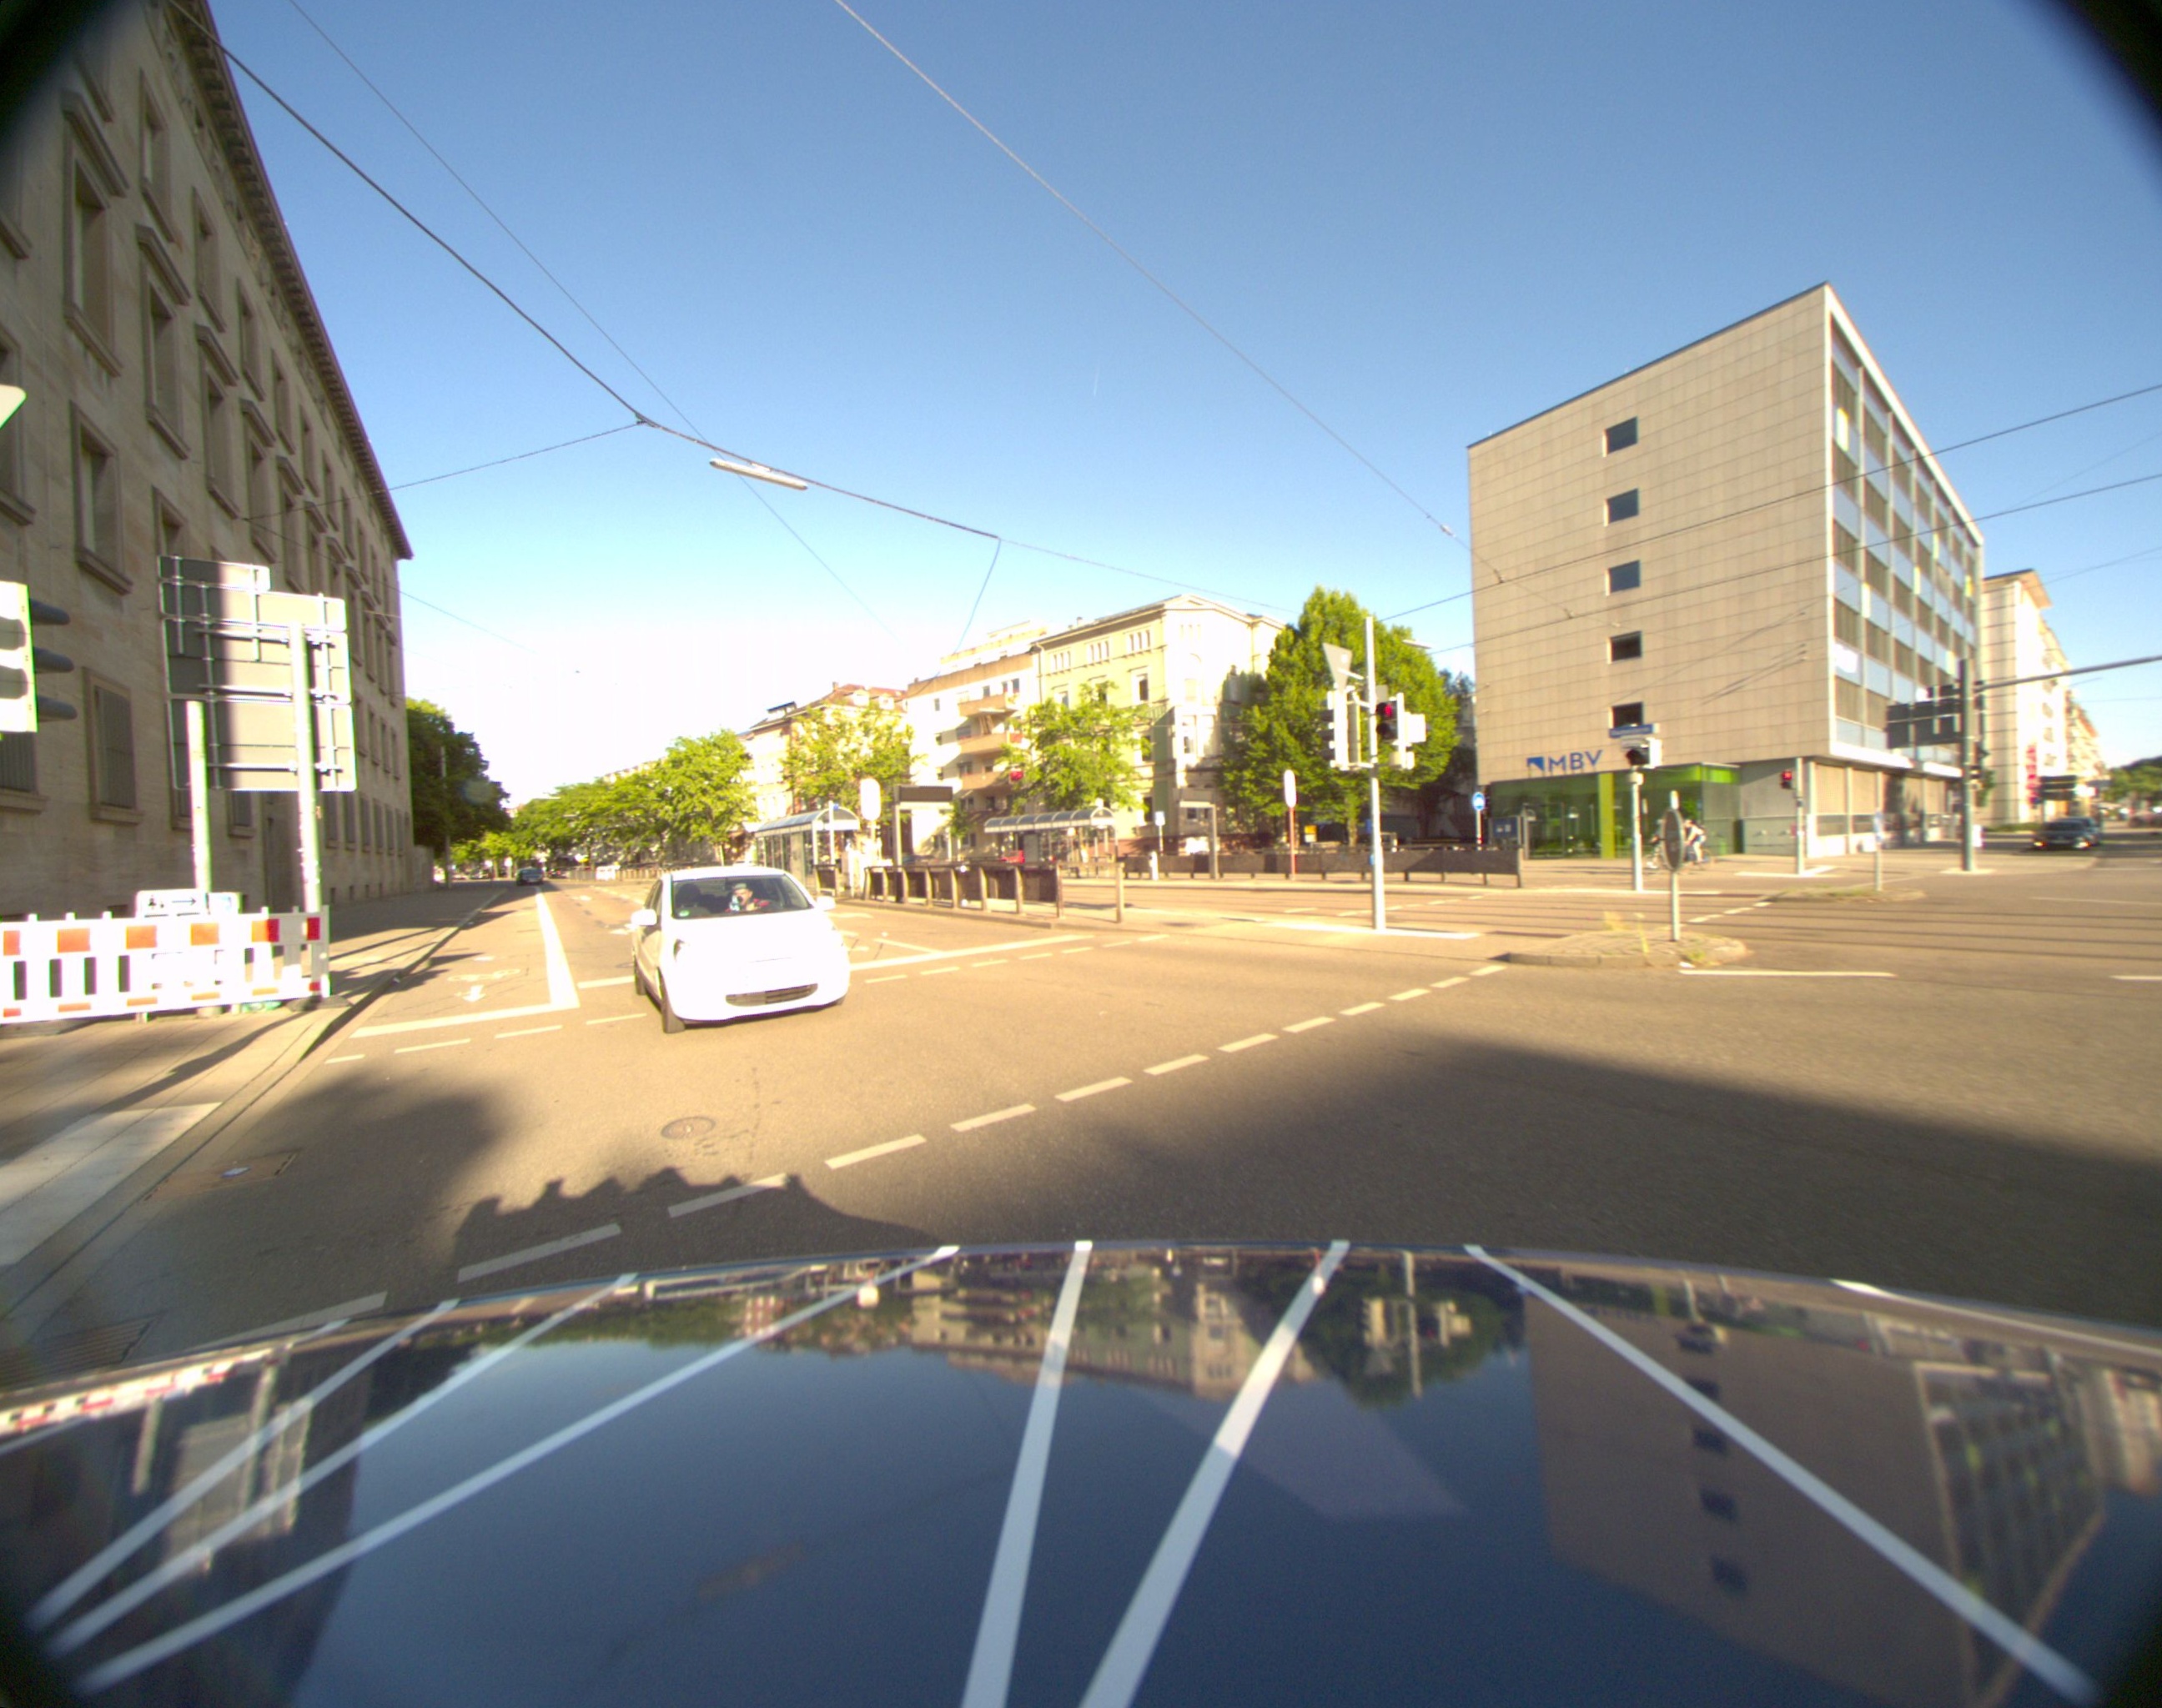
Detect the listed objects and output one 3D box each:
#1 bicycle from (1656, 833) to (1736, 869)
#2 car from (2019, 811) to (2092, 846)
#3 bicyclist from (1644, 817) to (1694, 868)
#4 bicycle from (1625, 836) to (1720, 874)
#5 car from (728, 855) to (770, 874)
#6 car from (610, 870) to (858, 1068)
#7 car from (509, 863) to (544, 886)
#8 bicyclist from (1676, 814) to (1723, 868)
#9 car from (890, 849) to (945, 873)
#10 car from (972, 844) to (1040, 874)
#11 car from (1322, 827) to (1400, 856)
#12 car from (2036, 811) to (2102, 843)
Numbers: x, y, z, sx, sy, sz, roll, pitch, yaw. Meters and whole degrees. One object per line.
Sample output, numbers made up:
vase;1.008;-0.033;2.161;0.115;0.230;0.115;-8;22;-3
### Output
bicycle;20.128;-0.091;24.919;1.904;1.062;0.755;-2;4;12
car;47.980;-1.261;37.376;4.557;1.564;1.995;-3;1;-35
bicyclist;18.381;-0.374;23.764;0.906;1.499;0.888;-2;4;7
bicycle;18.473;0.034;23.785;2.180;1.062;0.884;-2;4;8
car;-32.921;1.000;75.496;1.738;1.576;4.001;-3;2;11
car;-3.927;0.988;8.245;1.682;1.456;3.755;-5;3;-35
car;-51.271;1.894;70.250;3.696;2.002;1.763;-1;1;42
bicyclist;20.245;-0.430;24.888;0.945;1.682;0.764;-2;4;11
car;-11.765;0.488;54.652;3.989;1.576;1.743;-1;3;41
car;-4.583;0.304;47.022;1.735;1.576;4.007;-1;3;40
car;16.846;-0.738;45.805;1.743;1.576;3.989;-5;3;-40
car;53.023;-1.444;40.762;4.557;1.564;1.995;-3;1;-35
